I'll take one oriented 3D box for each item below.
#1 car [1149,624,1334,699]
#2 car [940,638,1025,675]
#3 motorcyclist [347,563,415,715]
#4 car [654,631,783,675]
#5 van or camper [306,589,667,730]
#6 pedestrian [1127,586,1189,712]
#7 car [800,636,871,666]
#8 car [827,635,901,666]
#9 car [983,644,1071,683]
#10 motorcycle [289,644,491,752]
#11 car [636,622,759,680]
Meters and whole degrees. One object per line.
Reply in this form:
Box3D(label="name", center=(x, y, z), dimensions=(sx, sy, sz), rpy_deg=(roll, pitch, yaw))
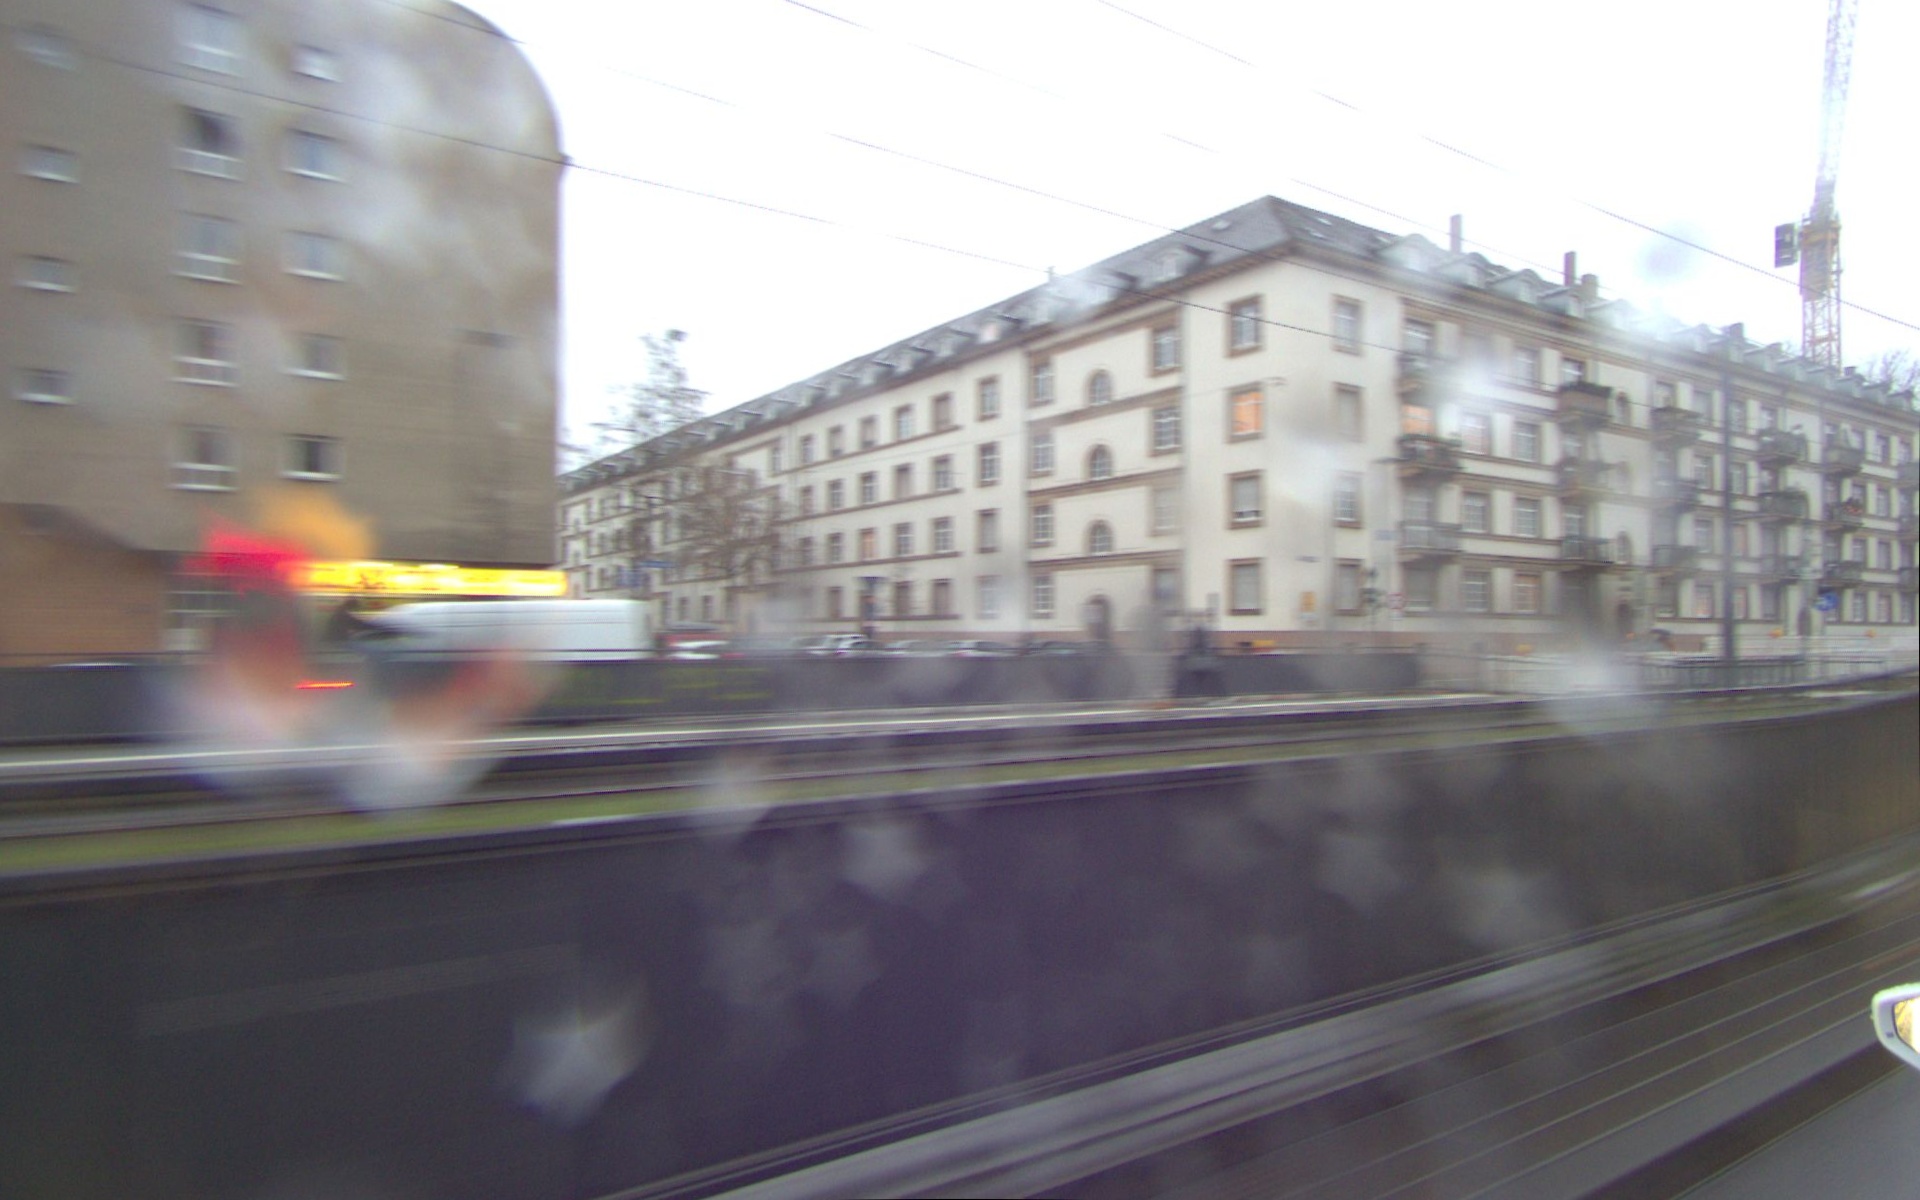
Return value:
Box3D(label="car", center=(5.698, 1.197, 20.252), dimensions=(3.506, 1.372, 1.673), rpy_deg=(2, -1, -31))
Box3D(label="car", center=(0.932, 2.286, 41.342), dimensions=(3.283, 1.443, 1.445), rpy_deg=(1, -2, -35))
Box3D(label="motorcyclist", center=(-6.012, 0.395, 10.420), dimensions=(0.551, 1.516, 0.495), rpy_deg=(1, 0, -35))
Box3D(label="car", center=(-8.366, 1.806, 35.005), dimensions=(4.113, 1.449, 1.587), rpy_deg=(2, -3, -42))
Box3D(label="van or camper", center=(-10.018, 1.215, 21.912), dimensions=(6.659, 2.718, 2.766), rpy_deg=(1, 0, -24))
Box3D(label="pedestrian", center=(2.965, 0.707, 15.000), dimensions=(0.782, 1.803, 0.823), rpy_deg=(1, 0, 18))
Box3D(label="car", center=(-6.281, 2.549, 50.882), dimensions=(3.283, 1.443, 1.445), rpy_deg=(1, -2, -35))
Box3D(label="car", center=(-4.637, 2.444, 48.698), dimensions=(3.283, 1.443, 1.445), rpy_deg=(1, -2, -35))
Box3D(label="car", center=(2.652, 2.448, 39.467), dimensions=(3.283, 1.443, 1.445), rpy_deg=(1, -2, -35))
Box3D(label="motorcycle", center=(-5.916, 0.989, 10.488), dimensions=(1.788, 1.021, 0.509), rpy_deg=(1, 0, -34))
Box3D(label="car", center=(-9.744, 1.863, 37.454), dimensions=(4.113, 2.061, 1.727), rpy_deg=(2, -3, -42))
